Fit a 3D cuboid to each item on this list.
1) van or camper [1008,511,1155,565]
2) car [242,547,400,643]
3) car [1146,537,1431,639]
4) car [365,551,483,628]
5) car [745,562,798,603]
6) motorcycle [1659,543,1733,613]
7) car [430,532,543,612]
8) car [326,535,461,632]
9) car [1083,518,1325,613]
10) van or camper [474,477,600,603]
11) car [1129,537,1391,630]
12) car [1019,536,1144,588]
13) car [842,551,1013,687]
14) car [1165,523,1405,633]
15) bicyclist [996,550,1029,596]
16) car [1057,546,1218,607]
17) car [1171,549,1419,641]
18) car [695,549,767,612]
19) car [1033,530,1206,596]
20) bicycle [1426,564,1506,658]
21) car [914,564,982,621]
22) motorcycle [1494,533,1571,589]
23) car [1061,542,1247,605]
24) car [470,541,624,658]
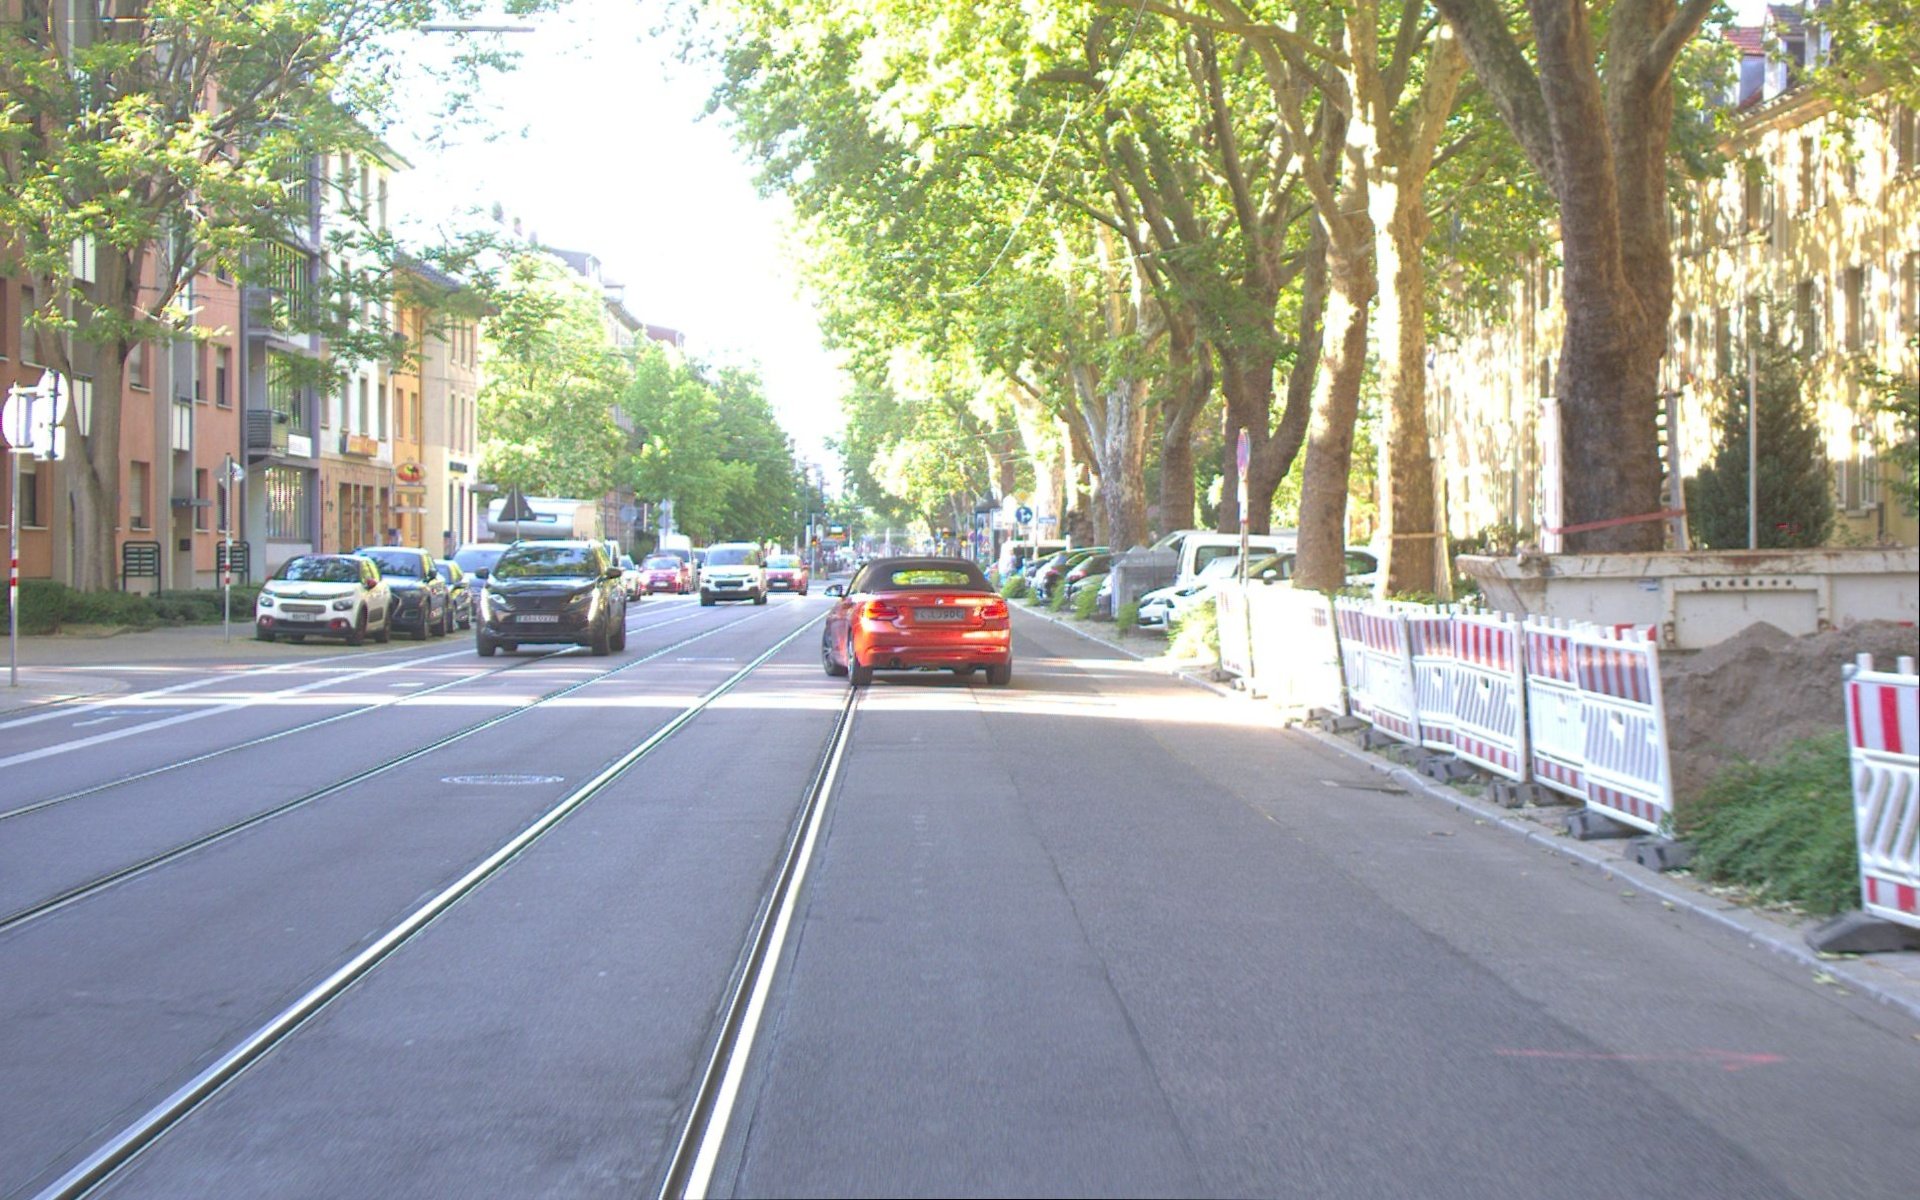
[{"bbox_3d":[4.761,-2.440,135.411,5.554,2.006,2.245,0,3,-5],"label":"van or camper"},{"bbox_3d":[-10.554,-0.101,57.041,1.806,1.473,4.090,2,1,0],"label":"car"},{"bbox_3d":[4.949,-0.179,52.180,4.087,1.516,1.917,0,0,-2],"label":"car"},{"bbox_3d":[-10.521,-0.231,67.754,1.738,1.396,4.383,2,1,-2],"label":"car"},{"bbox_3d":[-6.952,-0.664,127.163,1.775,1.453,4.203,-1,1,-1],"label":"car"},{"bbox_3d":[12.439,-0.386,58.161,0.715,1.149,2.264,-1,1,-1],"label":"motorcycle"},{"bbox_3d":[-10.606,-0.651,77.366,1.952,1.680,5.071,2,1,-2],"label":"car"},{"bbox_3d":[-10.267,-0.332,62.602,1.781,1.605,4.588,3,1,-2],"label":"car"},{"bbox_3d":[5.078,-0.733,71.953,4.835,1.956,2.065,0,1,-3],"label":"car"},{"bbox_3d":[-10.976,-1.558,89.610,2.337,3.030,6.397,3,1,0],"label":"van or camper"},{"bbox_3d":[5.062,-0.299,58.489,4.371,1.536,1.801,0,2,3],"label":"car"},{"bbox_3d":[3.915,-1.223,111.352,3.923,1.664,1.961,0,1,-2],"label":"car"},{"bbox_3d":[-0.358,0.174,38.856,1.792,1.384,4.236,1,1,0],"label":"car"},{"bbox_3d":[5.302,-0.375,56.463,3.844,1.766,1.916,0,1,3],"label":"car"},{"bbox_3d":[1.956,-1.013,128.059,1.045,1.700,1.058,0,1,-10],"label":"bicyclist"},{"bbox_3d":[4.355,-0.584,84.763,3.838,1.504,1.711,0,1,-1],"label":"car"},{"bbox_3d":[5.271,-0.099,54.504,3.844,1.428,1.851,0,1,3],"label":"car"},{"bbox_3d":[-6.751,-0.599,101.864,1.891,1.826,4.896,0,1,-1],"label":"car"},{"bbox_3d":[4.239,-0.990,91.215,4.497,1.596,2.027,-2,1,3],"label":"car"},{"bbox_3d":[6.351,0.124,43.261,0.690,1.150,1.949,0,1,-1],"label":"bicycle"},{"bbox_3d":[-0.374,-0.234,100.963,1.918,1.579,3.791,-1,1,-1],"label":"car"},{"bbox_3d":[14.780,-1.016,88.819,1.803,1.356,0.622,-3,1,-3],"label":"motorcycle"},{"bbox_3d":[4.536,-0.629,80.855,4.247,1.478,1.898,0,1,-1],"label":"car"},{"bbox_3d":[-5.886,-0.049,49.463,1.853,1.595,4.464,0,1,-2],"label":"car"}]
